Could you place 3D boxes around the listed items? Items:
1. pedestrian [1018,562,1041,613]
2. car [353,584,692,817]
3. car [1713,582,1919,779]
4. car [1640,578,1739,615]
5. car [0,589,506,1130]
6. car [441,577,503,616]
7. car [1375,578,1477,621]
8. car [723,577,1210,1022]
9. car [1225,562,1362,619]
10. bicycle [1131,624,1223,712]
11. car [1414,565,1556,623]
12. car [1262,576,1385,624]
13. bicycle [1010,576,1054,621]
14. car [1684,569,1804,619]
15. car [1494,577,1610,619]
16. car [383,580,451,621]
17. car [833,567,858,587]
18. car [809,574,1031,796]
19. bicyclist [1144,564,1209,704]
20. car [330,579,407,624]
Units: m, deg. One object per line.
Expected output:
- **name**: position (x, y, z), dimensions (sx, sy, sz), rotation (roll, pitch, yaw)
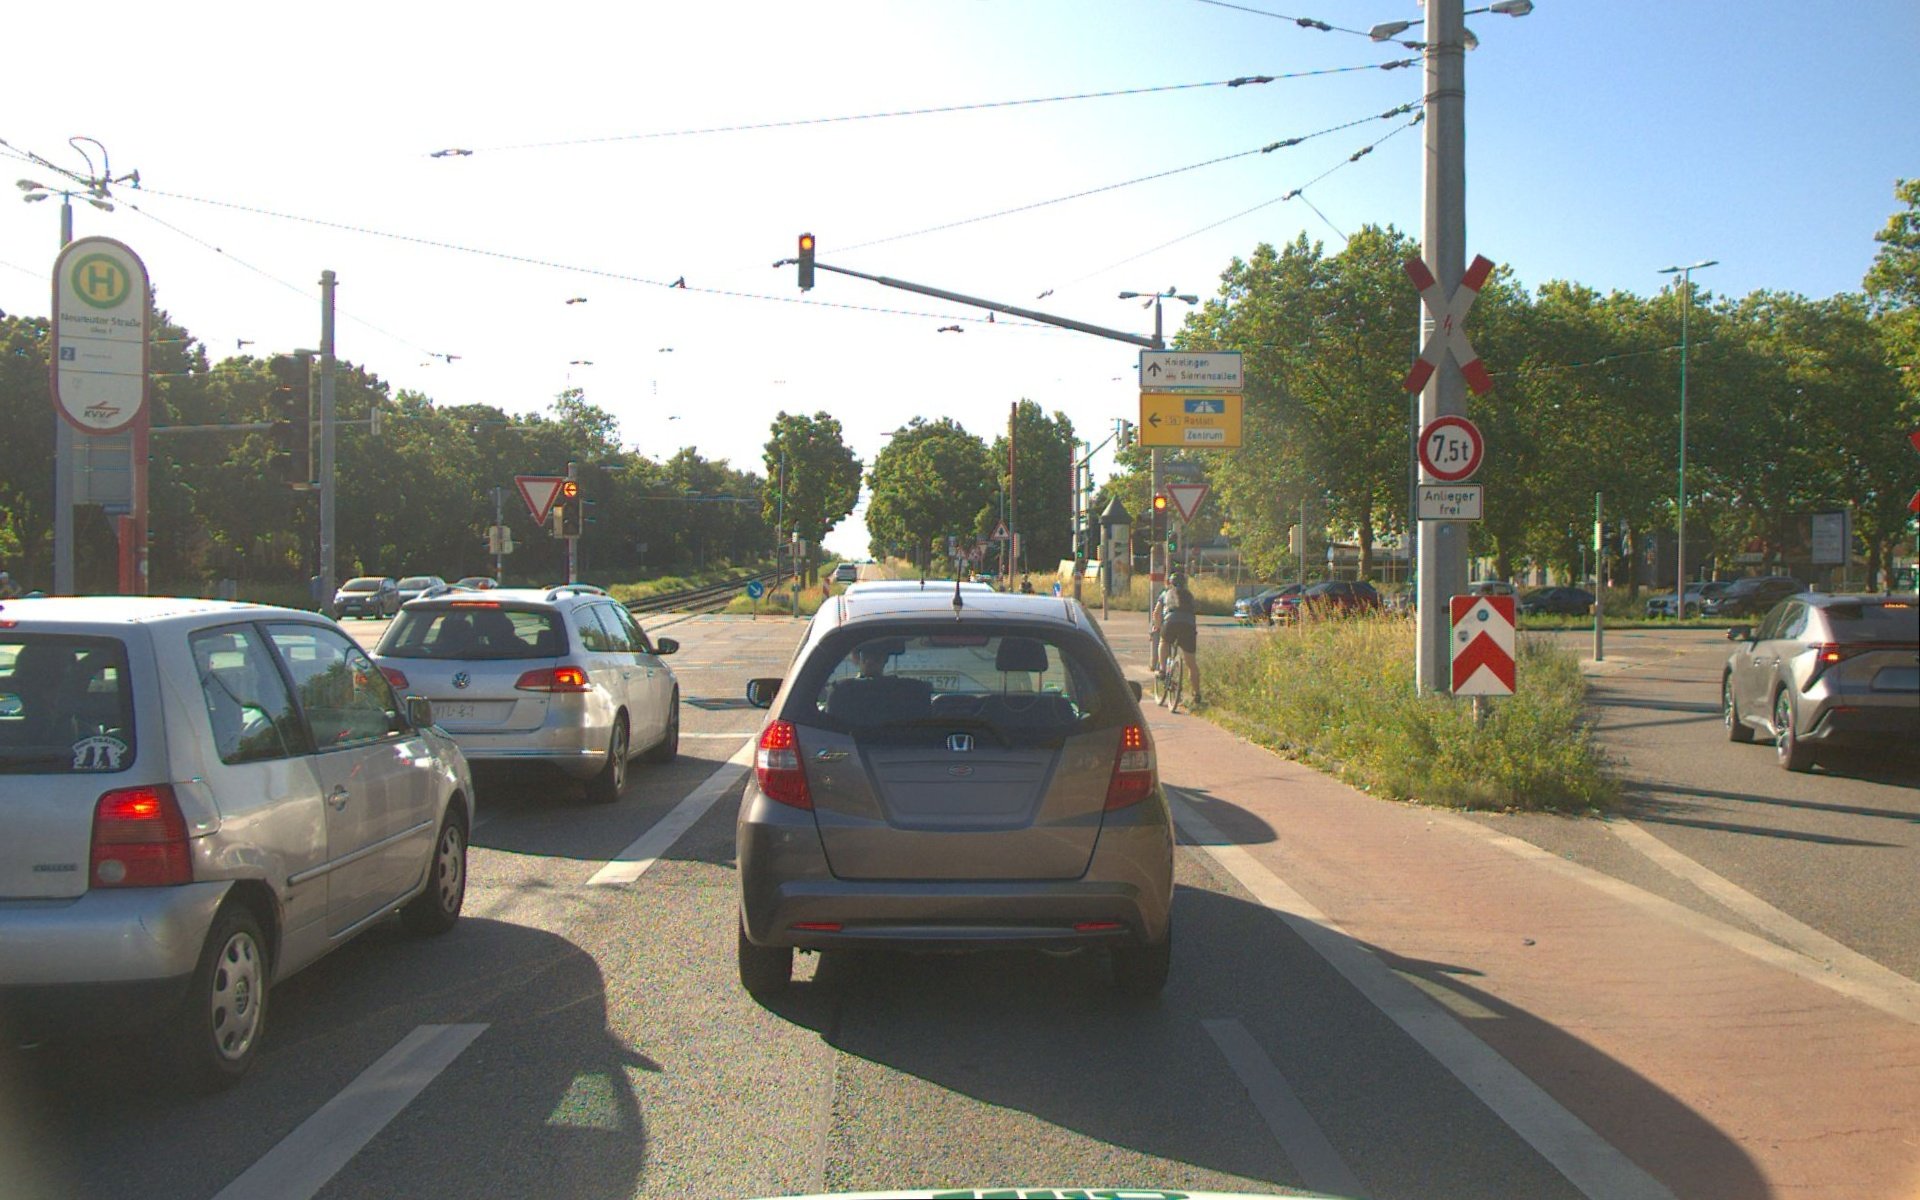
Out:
- **pedestrian**: position (2.552, -0.458, 60.842), dimensions (0.771, 1.868, 0.855), rotation (0, 0, 9)
- **car**: position (-3.156, 0.654, 12.732), dimensions (1.586, 1.482, 4.084), rotation (1, 0, -1)
- **car**: position (8.731, 0.665, 16.198), dimensions (1.728, 1.659, 4.501), rotation (0, 0, 15)
- **car**: position (30.555, -0.152, 69.262), dimensions (3.934, 1.527, 1.581), rotation (0, 0, -24)
- **car**: position (-2.898, 0.703, 6.092), dimensions (1.586, 1.442, 3.350), rotation (0, 0, -1)
- **car**: position (-21.732, -0.166, 73.793), dimensions (1.956, 1.632, 4.746), rotation (1, 1, -8)
- **car**: position (17.852, -0.026, 63.410), dimensions (3.694, 1.597, 1.480), rotation (0, 0, -24)
- **car**: position (-0.064, 0.659, 7.362), dimensions (1.635, 1.487, 3.584), rotation (0, 0, -3)
- **car**: position (12.177, -0.329, 60.455), dimensions (4.626, 1.912, 1.985), rotation (2, 0, -24)
- **bicycle**: position (2.753, 0.840, 21.290), dimensions (0.707, 1.006, 2.875), rotation (1, 0, -2)
- **car**: position (19.022, -0.227, 59.890), dimensions (4.823, 2.049, 1.985), rotation (0, 0, -24)
- **car**: position (12.359, -0.013, 56.169), dimensions (3.934, 1.557, 1.594), rotation (-1, 1, -24)
- **bicycle**: position (2.689, -0.075, 61.225), dimensions (0.801, 1.602, 3.216), rotation (0, 0, 18)
- **car**: position (29.021, -0.250, 61.212), dimensions (4.148, 1.805, 1.841), rotation (0, 0, -26)
- **car**: position (23.592, -0.098, 65.875), dimensions (4.450, 1.601, 1.681), rotation (0, 0, -24)
- **car**: position (-21.485, 0.018, 65.544), dimensions (1.798, 1.575, 4.277), rotation (0, 0, -8)
- **car**: position (-8.863, -1.746, 128.128), dimensions (1.678, 1.504, 3.993), rotation (0, 0, -8)
- **car**: position (-0.335, 0.599, 13.993), dimensions (1.578, 1.589, 4.287), rotation (0, 0, -1)
- **bicyclist**: position (2.765, 0.427, 21.211), dimensions (0.652, 1.746, 0.948), rotation (1, 0, -2)
- **car**: position (-21.316, 0.035, 59.756), dimensions (1.798, 1.575, 3.993), rotation (0, 0, -8)
